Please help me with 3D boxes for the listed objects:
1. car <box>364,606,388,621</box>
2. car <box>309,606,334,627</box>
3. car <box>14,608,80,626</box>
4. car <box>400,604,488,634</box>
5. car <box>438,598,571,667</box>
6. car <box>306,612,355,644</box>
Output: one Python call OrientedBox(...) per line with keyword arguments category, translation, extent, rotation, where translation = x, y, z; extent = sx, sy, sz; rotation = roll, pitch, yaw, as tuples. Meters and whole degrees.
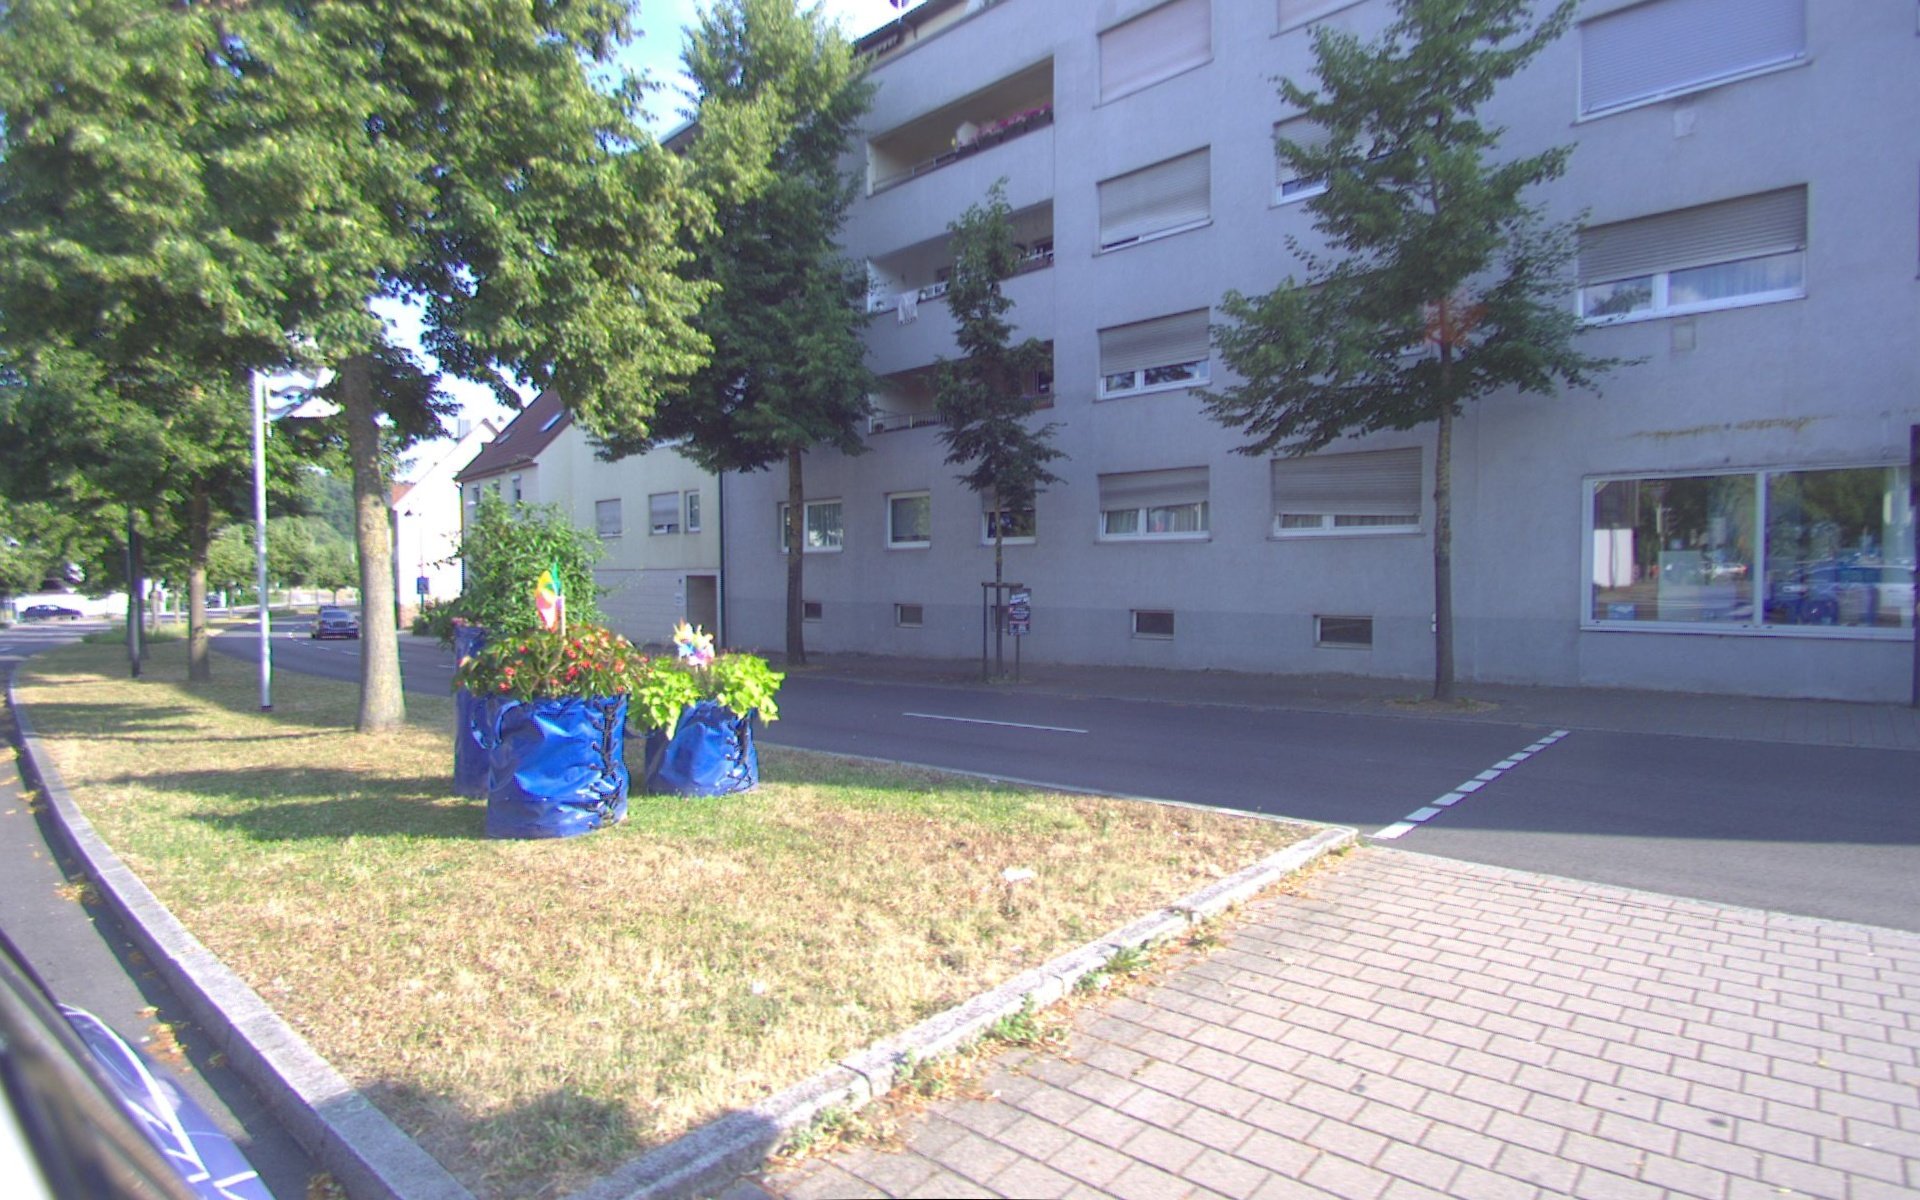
OrientedBox(category="car", translation=(-60.878, 1.418, 105.605), extent=(1.912, 1.497, 4.338), rotation=(0, 0, -26))
OrientedBox(category="car", translation=(-48.578, 1.239, 76.977), extent=(1.583, 1.497, 3.795), rotation=(0, 0, -32))
OrientedBox(category="car", translation=(-78.015, 1.429, 86.530), extent=(3.772, 1.431, 1.944), rotation=(-2, 1, -25))
OrientedBox(category="car", translation=(-29.523, 1.068, 58.021), extent=(4.285, 1.497, 2.018), rotation=(-2, 1, -22))
OrientedBox(category="car", translation=(-12.649, 0.839, 27.932), extent=(1.831, 1.749, 4.927), rotation=(0, -1, -44))
OrientedBox(category="car", translation=(-31.624, 1.345, 50.809), extent=(1.828, 1.497, 5.008), rotation=(0, 0, -35))
